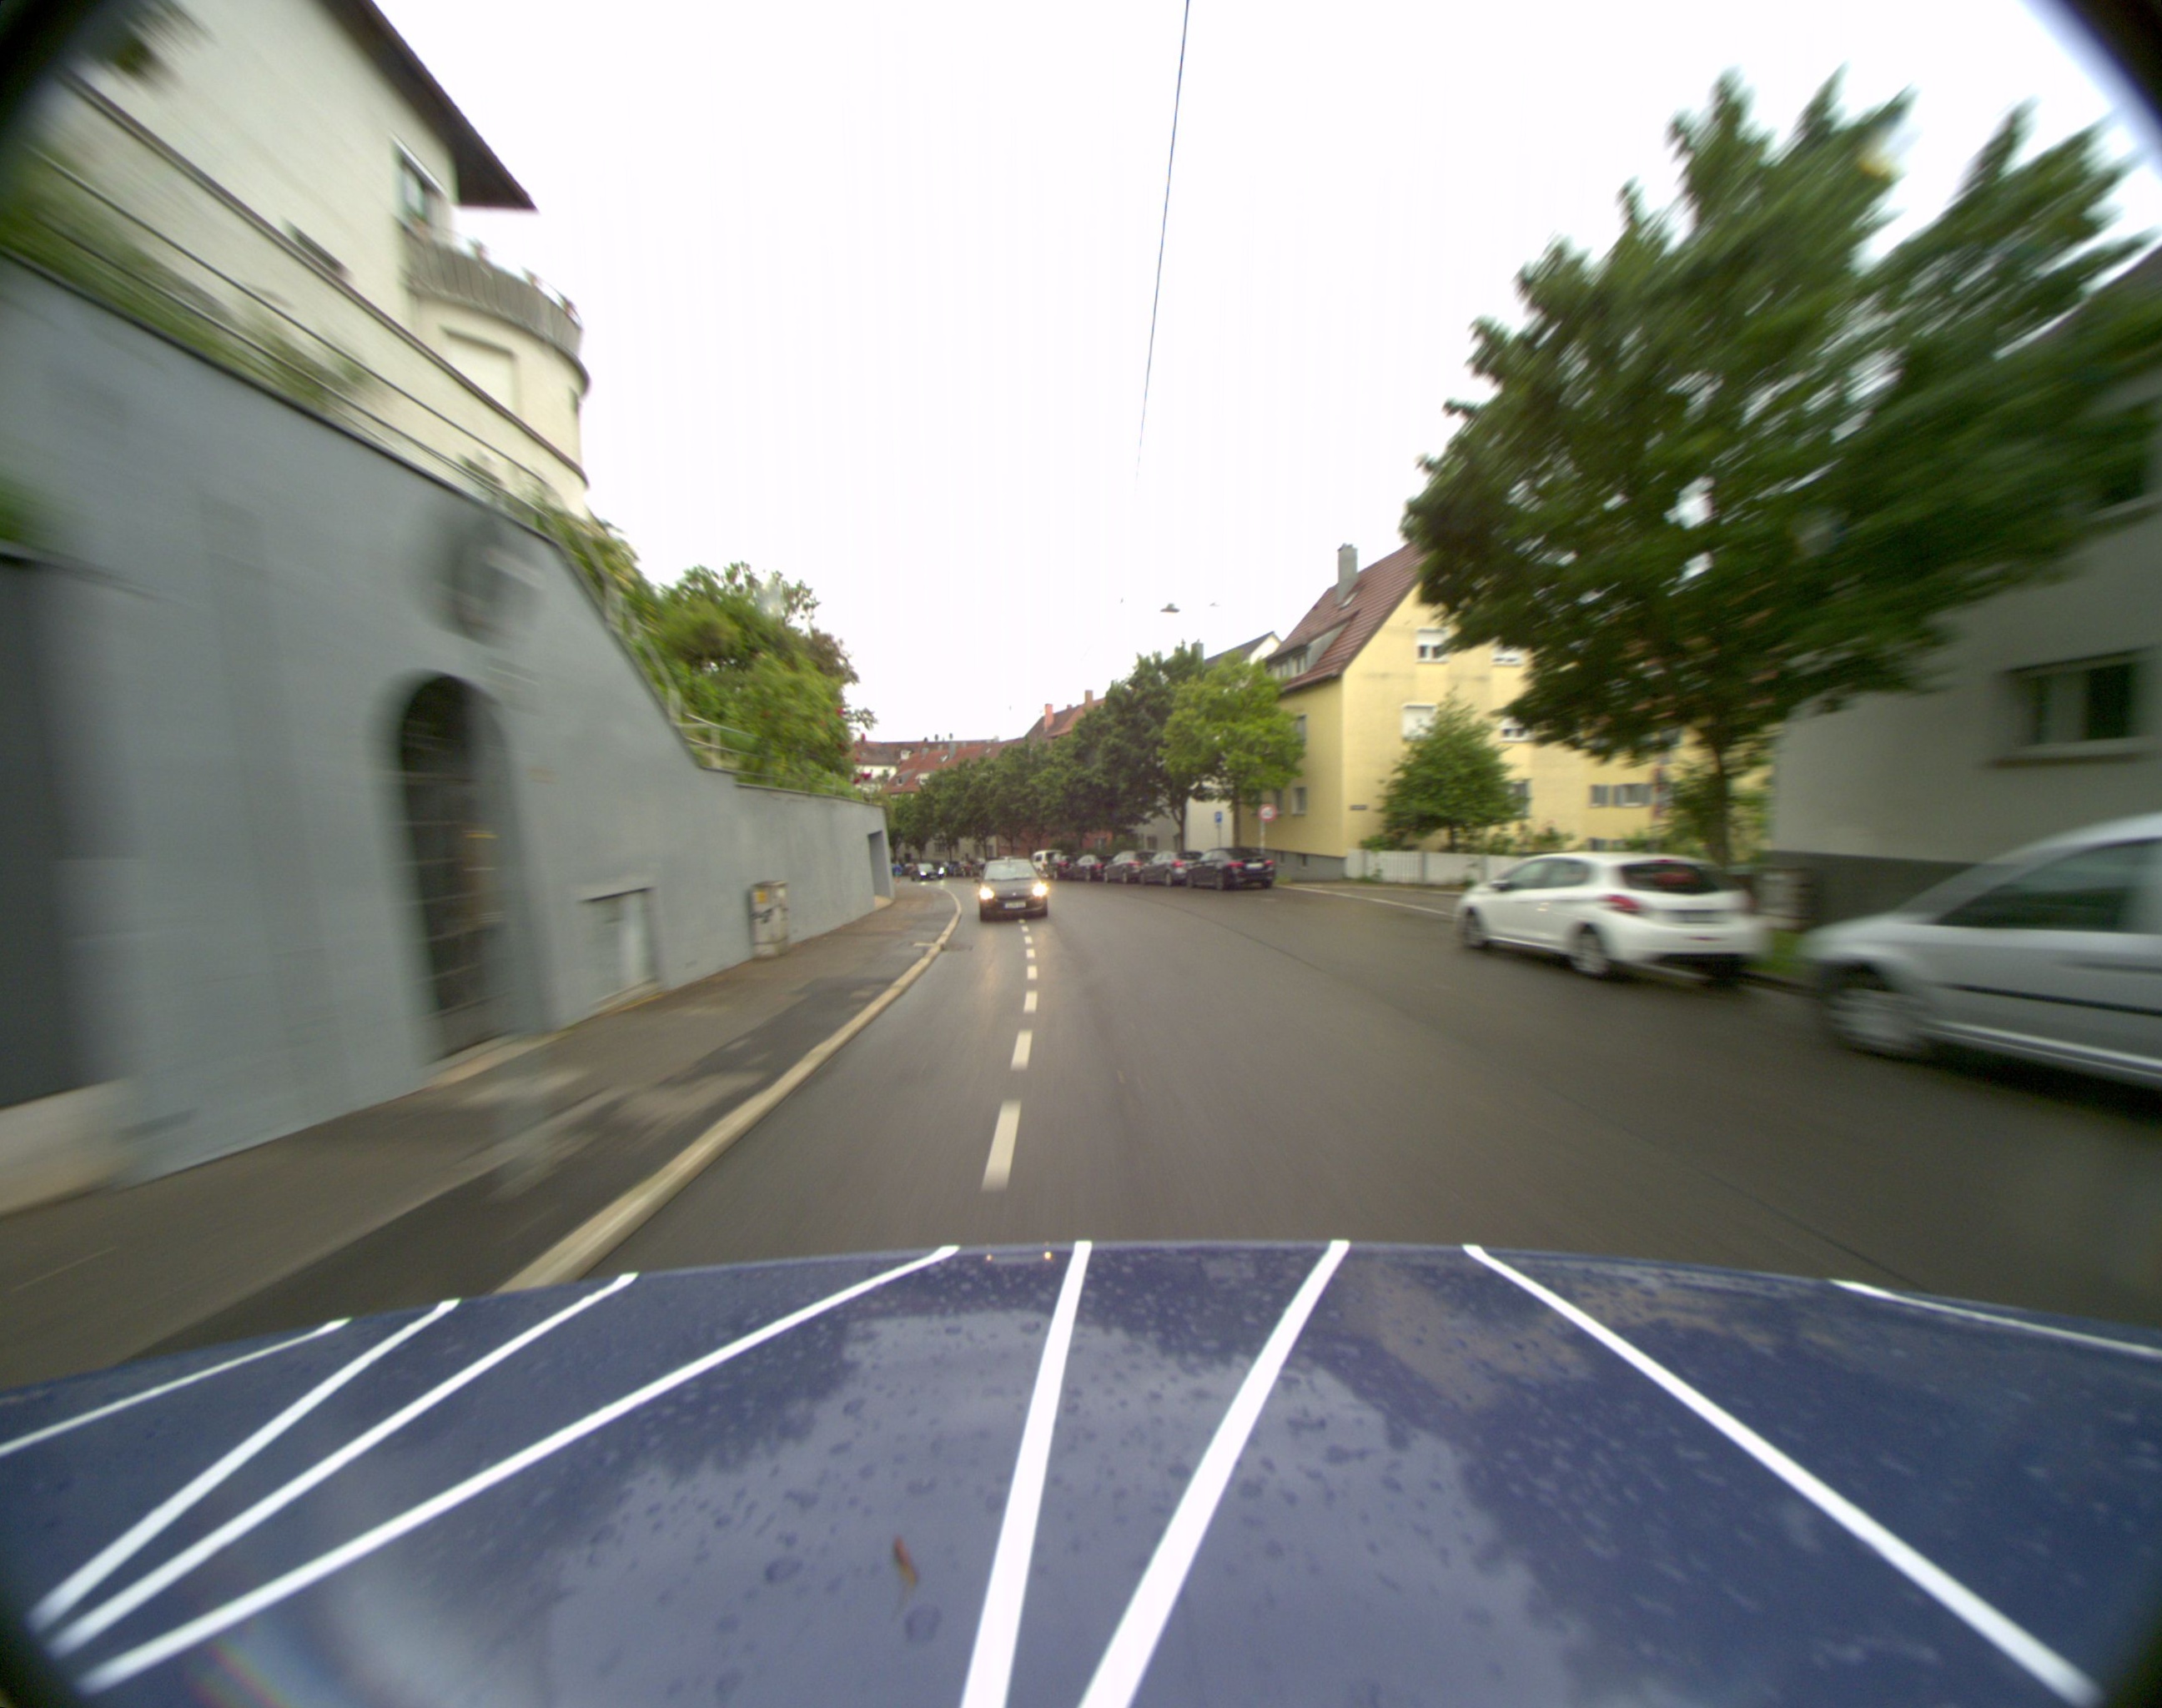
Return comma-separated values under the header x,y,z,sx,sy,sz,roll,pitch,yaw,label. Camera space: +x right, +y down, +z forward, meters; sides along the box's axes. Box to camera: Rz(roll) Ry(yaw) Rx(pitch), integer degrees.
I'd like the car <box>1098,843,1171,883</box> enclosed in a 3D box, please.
x,y,z,sx,sy,sz,roll,pitch,yaw,label
2.443,0.394,35.703,1.861,1.680,4.548,-2,0,-17,car

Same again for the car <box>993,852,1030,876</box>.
x,y,z,sx,sy,sz,roll,pitch,yaw,label
-5.511,0.771,60.024,1.754,1.680,4.592,-4,1,-20,car

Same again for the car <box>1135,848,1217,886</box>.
x,y,z,sx,sy,sz,roll,pitch,yaw,label
3.782,0.507,30.979,1.620,1.388,4.316,-3,1,-17,car

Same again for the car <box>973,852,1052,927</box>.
x,y,z,sx,sy,sz,roll,pitch,yaw,label
-1.778,0.830,19.921,1.698,1.456,3.996,-6,3,-5,car

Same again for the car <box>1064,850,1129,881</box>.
x,y,z,sx,sy,sz,roll,pitch,yaw,label
0.770,0.622,41.593,1.861,1.490,4.733,-4,1,-20,car

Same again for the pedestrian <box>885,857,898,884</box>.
x,y,z,sx,sy,sz,roll,pitch,yaw,label
-13.287,1.152,53.302,0.779,1.821,1.249,0,-1,-20,pedestrian

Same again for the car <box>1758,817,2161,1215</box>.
x,y,z,sx,sy,sz,roll,pitch,yaw,label
6.517,0.826,4.030,1.918,1.990,4.547,-3,2,3,car

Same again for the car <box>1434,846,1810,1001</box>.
x,y,z,sx,sy,sz,roll,pitch,yaw,label
6.669,0.713,10.124,1.789,1.506,4.343,1,2,-1,car

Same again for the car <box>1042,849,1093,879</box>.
x,y,z,sx,sy,sz,roll,pitch,yaw,label
-0.881,0.579,46.169,1.861,1.658,4.581,-4,1,-17,car

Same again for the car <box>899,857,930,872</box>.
x,y,z,sx,sy,sz,roll,pitch,yaw,label
-18.655,1.198,84.875,1.795,1.485,4.633,-5,2,-32,car

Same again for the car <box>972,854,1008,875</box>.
x,y,z,sx,sy,sz,roll,pitch,yaw,label
-7.823,0.918,65.053,1.795,1.632,4.472,-4,1,-23,car

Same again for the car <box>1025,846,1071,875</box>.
x,y,z,sx,sy,sz,roll,pitch,yaw,label
-2.281,0.449,51.765,1.861,1.766,4.475,-4,1,-19,car

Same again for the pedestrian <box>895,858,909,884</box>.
x,y,z,sx,sy,sz,roll,pitch,yaw,label
-12.607,1.195,53.505,0.778,1.748,1.010,-1,1,-20,pedestrian

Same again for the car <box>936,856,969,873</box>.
x,y,z,sx,sy,sz,roll,pitch,yaw,label
-12.844,1.028,75.535,1.795,1.484,4.851,-4,1,-27,car

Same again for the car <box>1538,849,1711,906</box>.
x,y,z,sx,sy,sz,roll,pitch,yaw,label
16.453,0.691,23.093,4.001,1.436,1.997,3,1,-11,car

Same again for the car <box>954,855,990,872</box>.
x,y,z,sx,sy,sz,roll,pitch,yaw,label
-10.106,0.893,70.320,1.795,1.484,4.352,-4,1,-29,car

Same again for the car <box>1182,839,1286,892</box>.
x,y,z,sx,sy,sz,roll,pitch,yaw,label
5.118,0.340,26.092,1.781,1.531,4.511,-4,1,-12,car
